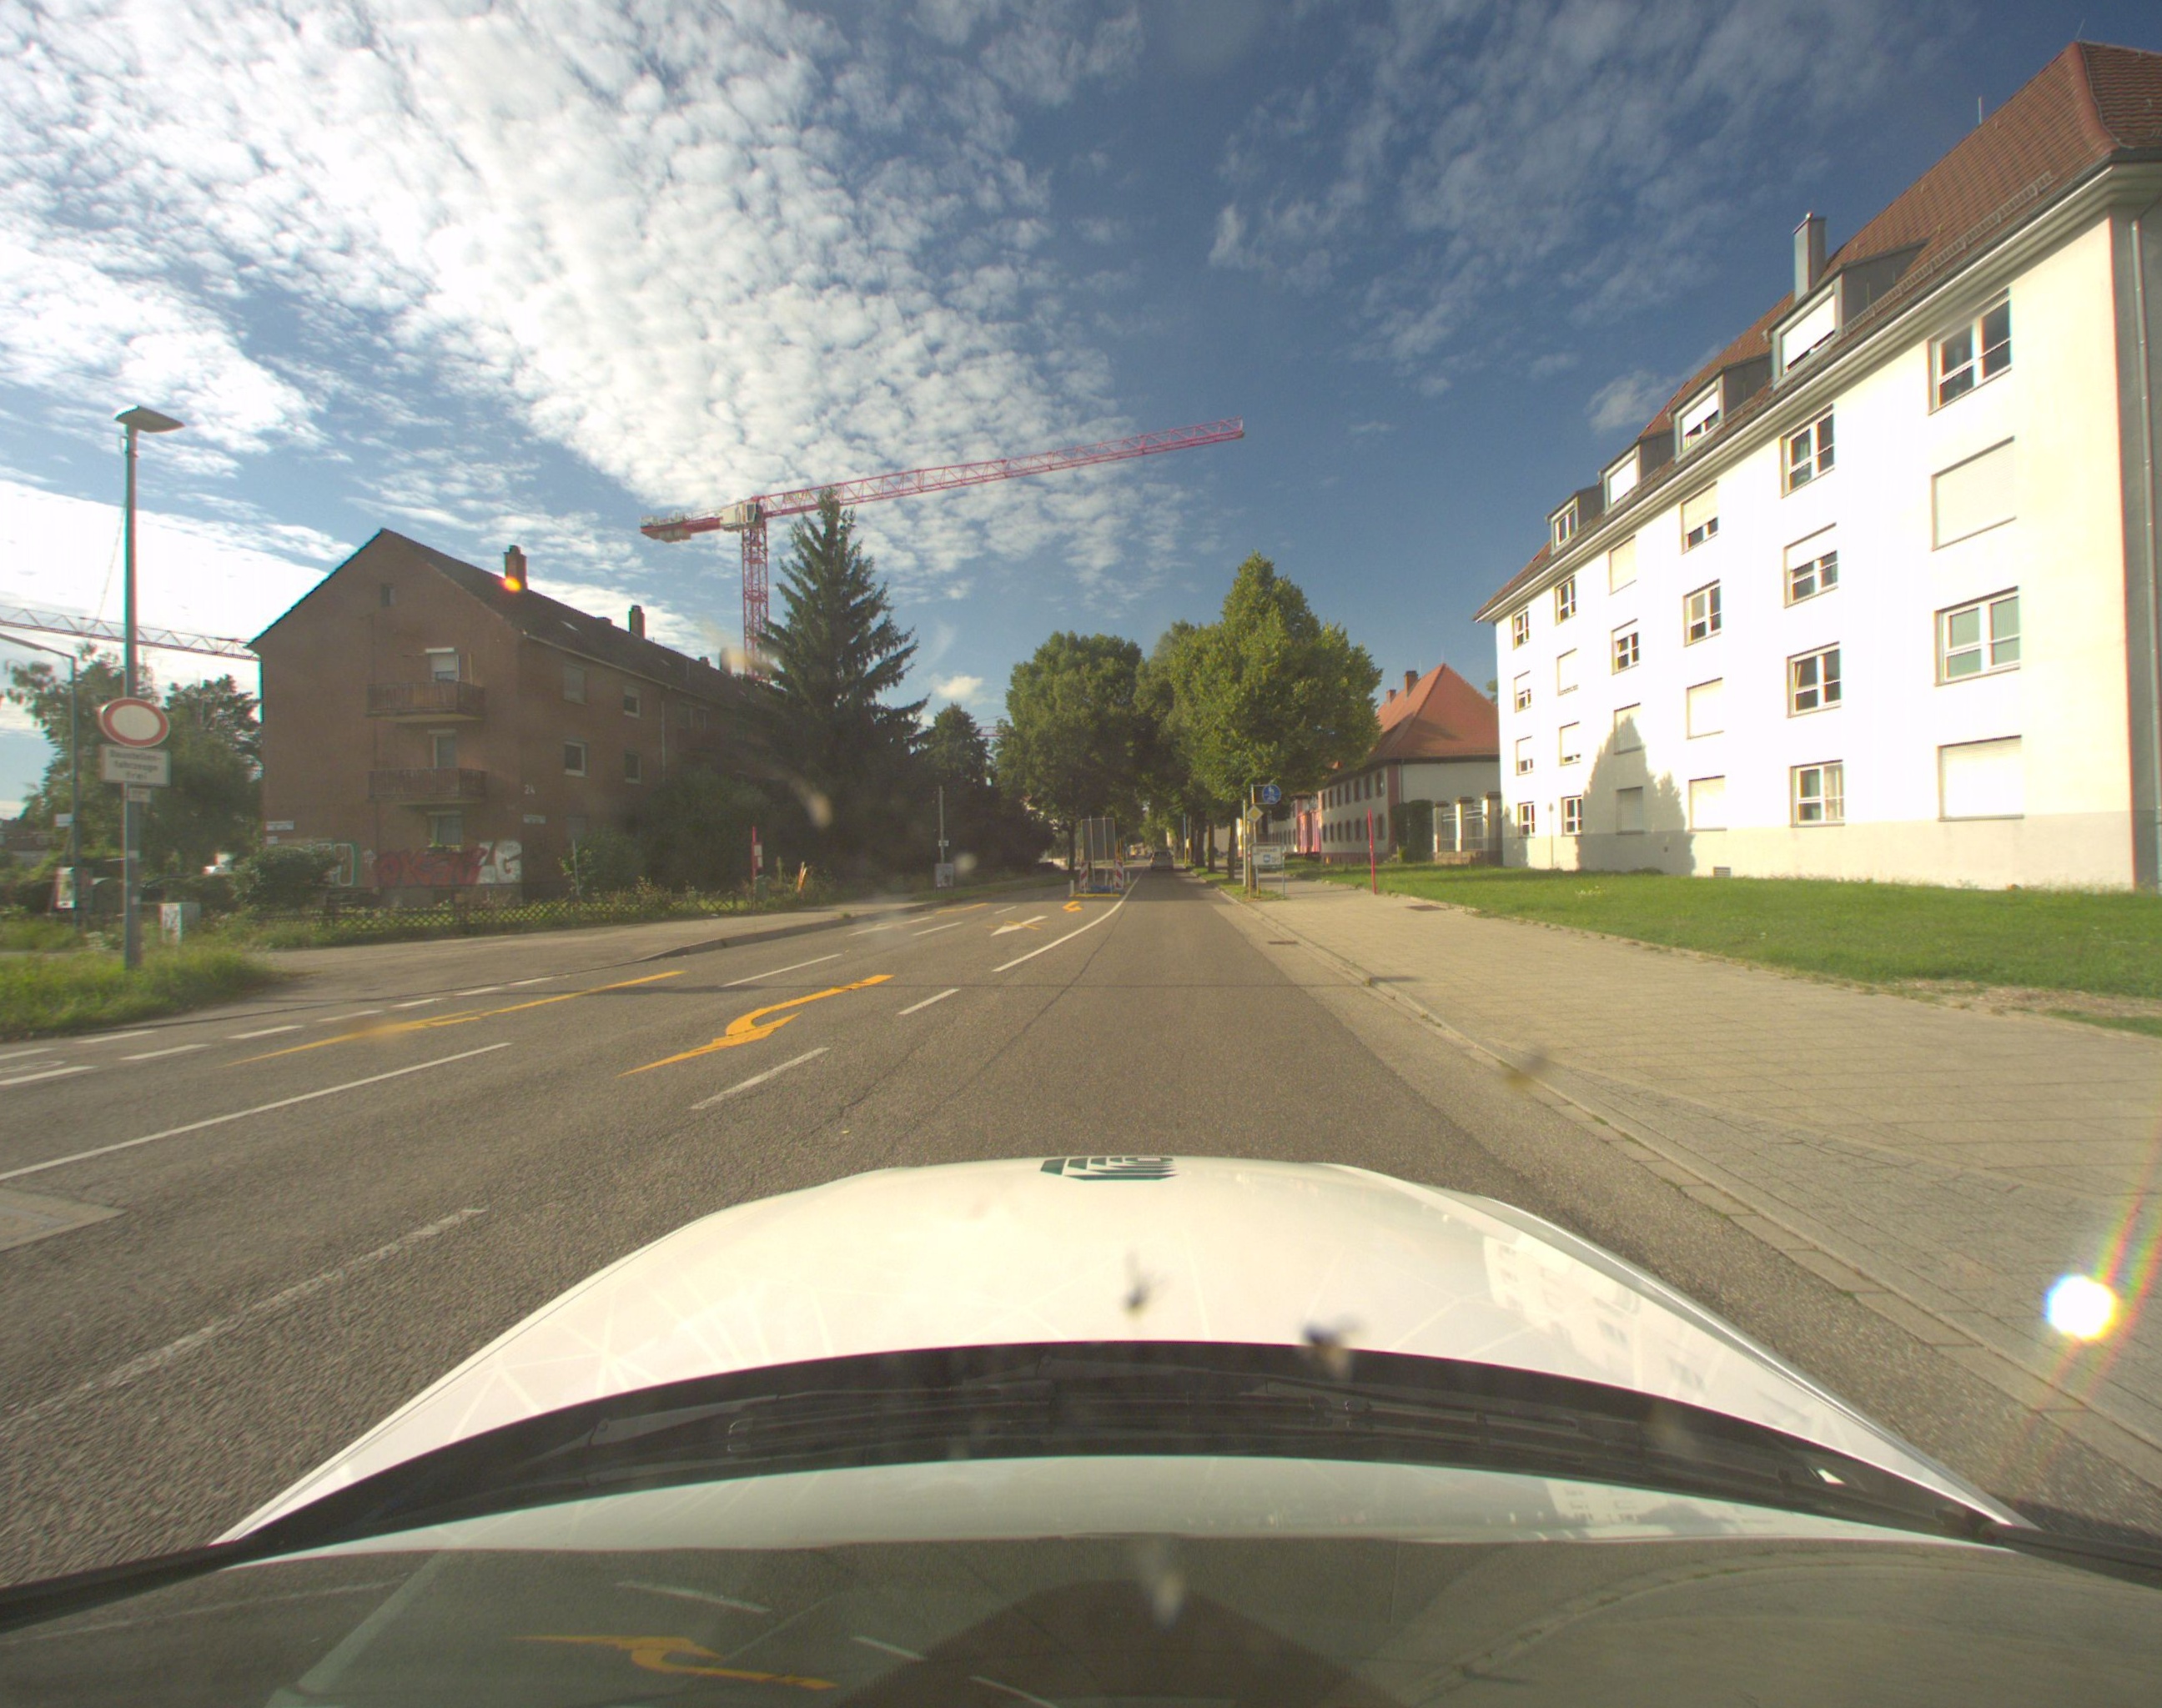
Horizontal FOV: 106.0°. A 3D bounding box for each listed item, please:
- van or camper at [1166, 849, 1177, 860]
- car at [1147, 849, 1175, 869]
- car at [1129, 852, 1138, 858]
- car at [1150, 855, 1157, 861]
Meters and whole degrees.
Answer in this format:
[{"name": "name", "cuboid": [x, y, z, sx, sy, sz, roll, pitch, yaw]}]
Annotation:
[{"name": "van or camper", "cuboid": [22.784, 0.162, 204.834, 2.201, 2.607, 5.372, -1, 0, 1]}, {"name": "car", "cuboid": [6.392, 0.432, 65.261, 1.986, 1.555, 4.275, 0, -1, 2]}, {"name": "car", "cuboid": [14.244, 0.321, 221.905, 1.988, 1.640, 3.998, -2, 0, -1]}, {"name": "car", "cuboid": [21.045, 1.102, 236.710, 1.984, 1.755, 4.006, 0, -1, 5]}]
